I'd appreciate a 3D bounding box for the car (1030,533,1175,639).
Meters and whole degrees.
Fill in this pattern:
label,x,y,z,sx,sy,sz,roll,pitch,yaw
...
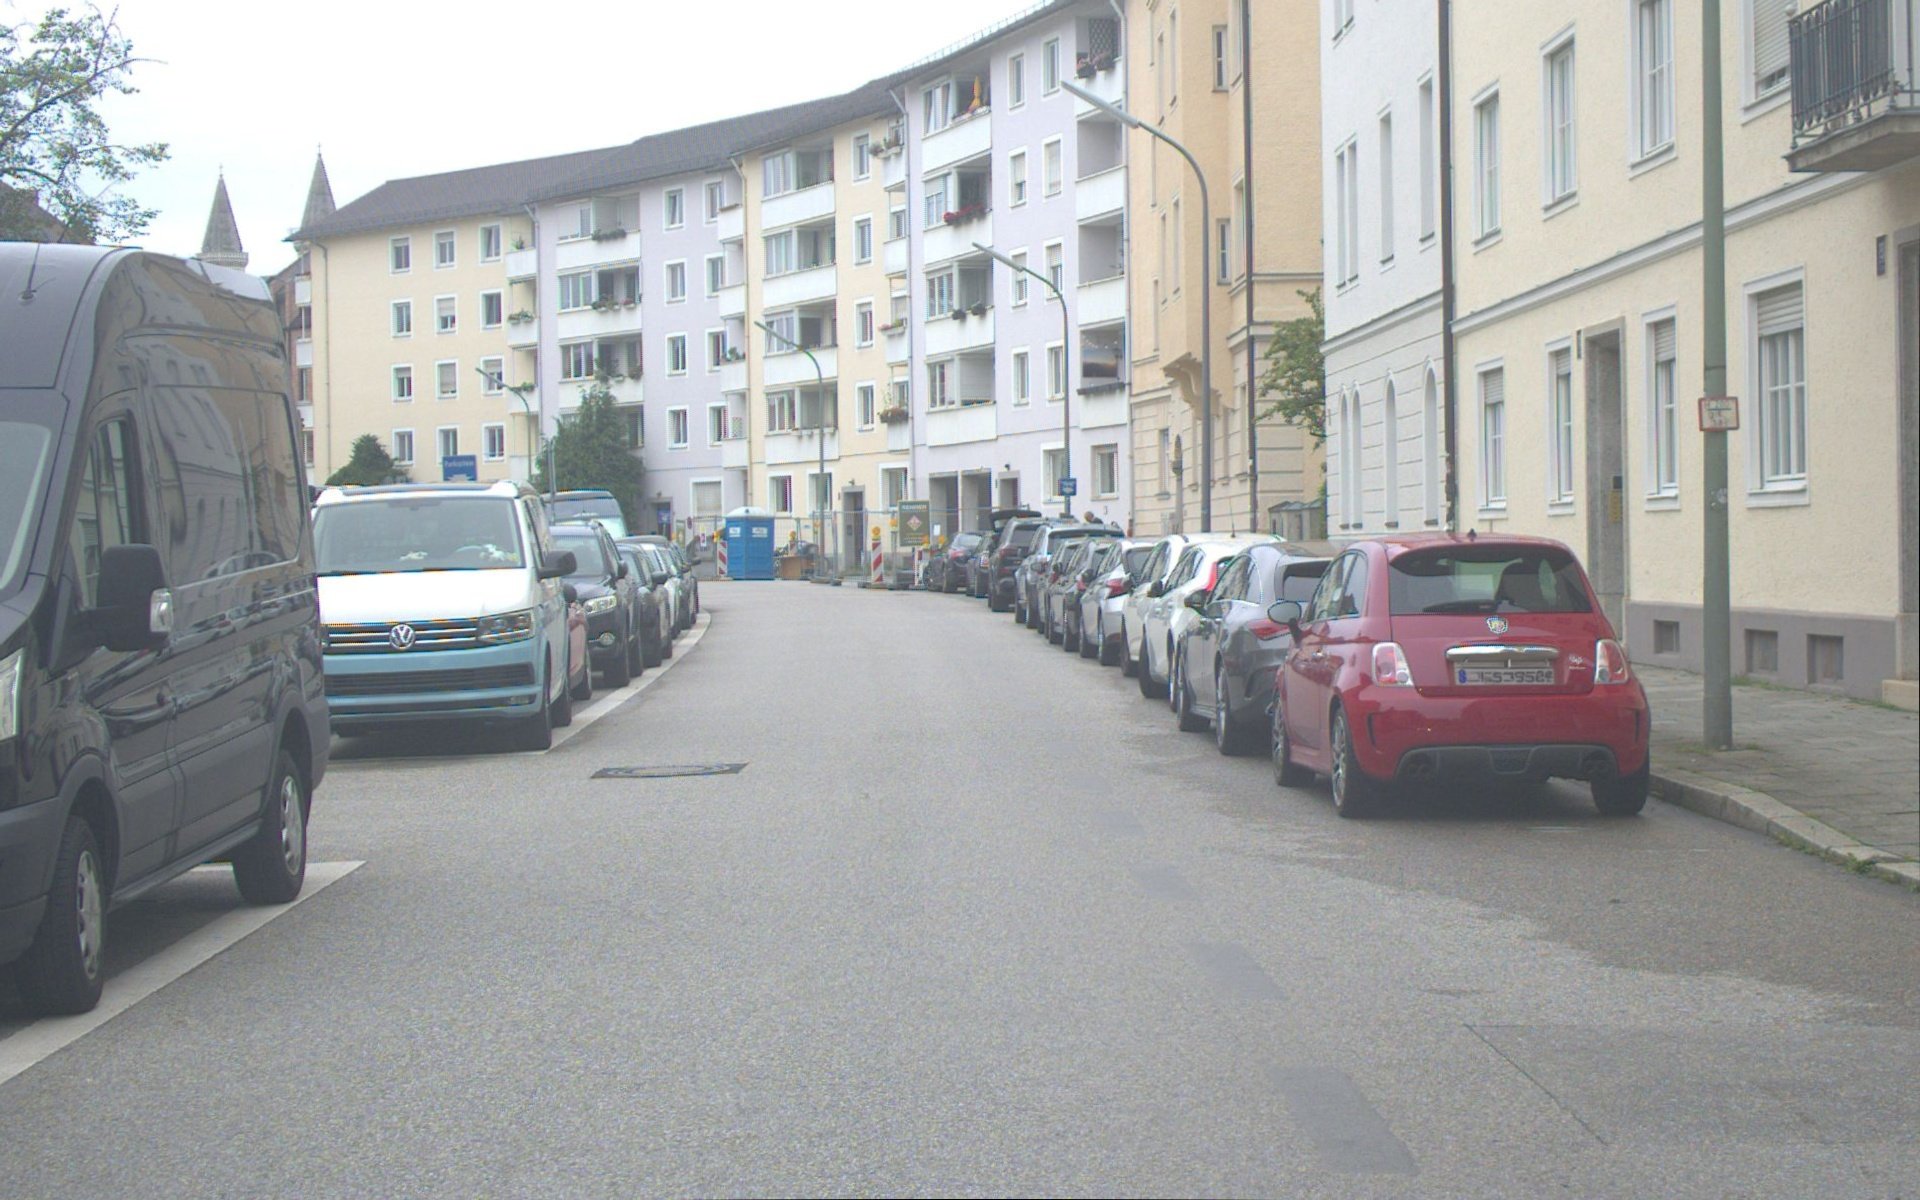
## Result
label,x,y,z,sx,sy,sz,roll,pitch,yaw
car,2.030,-0.232,50.095,1.827,1.445,4.084,0,1,-1

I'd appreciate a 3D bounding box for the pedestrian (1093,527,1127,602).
label,x,y,z,sx,sy,sz,roll,pitch,yaw
pedestrian,3.494,-0.832,79.978,0.617,1.684,0.919,-4,1,-2

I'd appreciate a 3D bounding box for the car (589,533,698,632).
label,x,y,z,sx,sy,sz,roll,pitch,yaw
car,-5.258,-0.321,57.477,1.630,1.489,4.276,-3,2,-4

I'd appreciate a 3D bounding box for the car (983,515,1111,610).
label,x,y,z,sx,sy,sz,roll,pitch,yaw
car,1.600,-0.743,65.025,2.169,1.733,5.024,0,1,-1

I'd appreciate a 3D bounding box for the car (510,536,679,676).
label,x,y,z,sx,sy,sz,roll,pitch,yaw
car,-4.329,0.033,41.166,1.631,1.489,3.820,-3,1,-1

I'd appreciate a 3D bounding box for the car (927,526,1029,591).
label,x,y,z,sx,sy,sz,roll,pitch,yaw
car,0.389,-1.004,81.668,1.908,1.472,4.947,0,1,-6

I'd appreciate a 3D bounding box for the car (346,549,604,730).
label,x,y,z,sx,sy,sz,roll,pitch,yaw
car,-4.271,0.305,30.785,1.804,1.402,3.709,-3,1,-1

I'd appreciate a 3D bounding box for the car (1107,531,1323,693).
label,x,y,z,sx,sy,sz,roll,pitch,yaw
car,2.543,0.075,35.110,1.650,1.538,3.994,0,1,-4

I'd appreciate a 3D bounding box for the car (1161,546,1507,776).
label,x,y,z,sx,sy,sz,roll,pitch,yaw
car,2.533,0.356,24.335,1.773,1.425,4.616,0,1,-2

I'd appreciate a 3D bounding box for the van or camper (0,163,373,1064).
label,x,y,z,sx,sy,sz,roll,pitch,yaw
van or camper,-3.891,0.026,12.837,2.293,2.642,5.561,-3,1,0

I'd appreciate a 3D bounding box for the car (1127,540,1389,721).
label,x,y,z,sx,sy,sz,roll,pitch,yaw
car,2.512,0.211,29.908,1.725,1.425,4.294,0,1,-2

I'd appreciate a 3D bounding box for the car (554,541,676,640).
label,x,y,z,sx,sy,sz,roll,pitch,yaw
car,-5.231,-0.181,52.494,1.740,1.417,4.295,0,1,-4

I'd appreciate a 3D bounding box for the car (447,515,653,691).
label,x,y,z,sx,sy,sz,roll,pitch,yaw
car,-4.249,-0.021,36.126,1.714,1.683,4.141,-2,1,-1

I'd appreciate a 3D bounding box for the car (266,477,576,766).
label,x,y,z,sx,sy,sz,roll,pitch,yaw
car,-3.935,0.082,25.834,1.914,1.953,4.962,0,1,-5

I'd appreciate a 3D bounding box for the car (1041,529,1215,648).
label,x,y,z,sx,sy,sz,roll,pitch,yaw
car,2.137,-0.195,44.938,1.875,1.445,4.678,0,1,-2

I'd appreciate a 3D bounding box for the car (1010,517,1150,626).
label,x,y,z,sx,sy,sz,roll,pitch,yaw
car,1.872,-0.493,54.952,1.846,1.658,4.499,0,1,-3

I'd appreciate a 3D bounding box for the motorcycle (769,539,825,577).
label,x,y,z,sx,sy,sz,roll,pitch,yaw
motorcycle,-5.416,-1.394,113.926,0.931,1.217,2.507,-1,1,-25

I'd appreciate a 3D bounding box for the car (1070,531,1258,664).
label,x,y,z,sx,sy,sz,roll,pitch,yaw
car,2.325,-0.067,40.156,1.724,1.445,4.188,0,1,-3

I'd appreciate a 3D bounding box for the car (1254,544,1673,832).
label,x,y,z,sx,sy,sz,roll,pitch,yaw
car,2.723,0.421,19.359,1.654,1.425,3.756,0,1,-2

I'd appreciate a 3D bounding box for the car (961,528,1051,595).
label,x,y,z,sx,sy,sz,roll,pitch,yaw
car,0.980,-0.854,75.288,1.630,1.412,3.680,0,1,-5
